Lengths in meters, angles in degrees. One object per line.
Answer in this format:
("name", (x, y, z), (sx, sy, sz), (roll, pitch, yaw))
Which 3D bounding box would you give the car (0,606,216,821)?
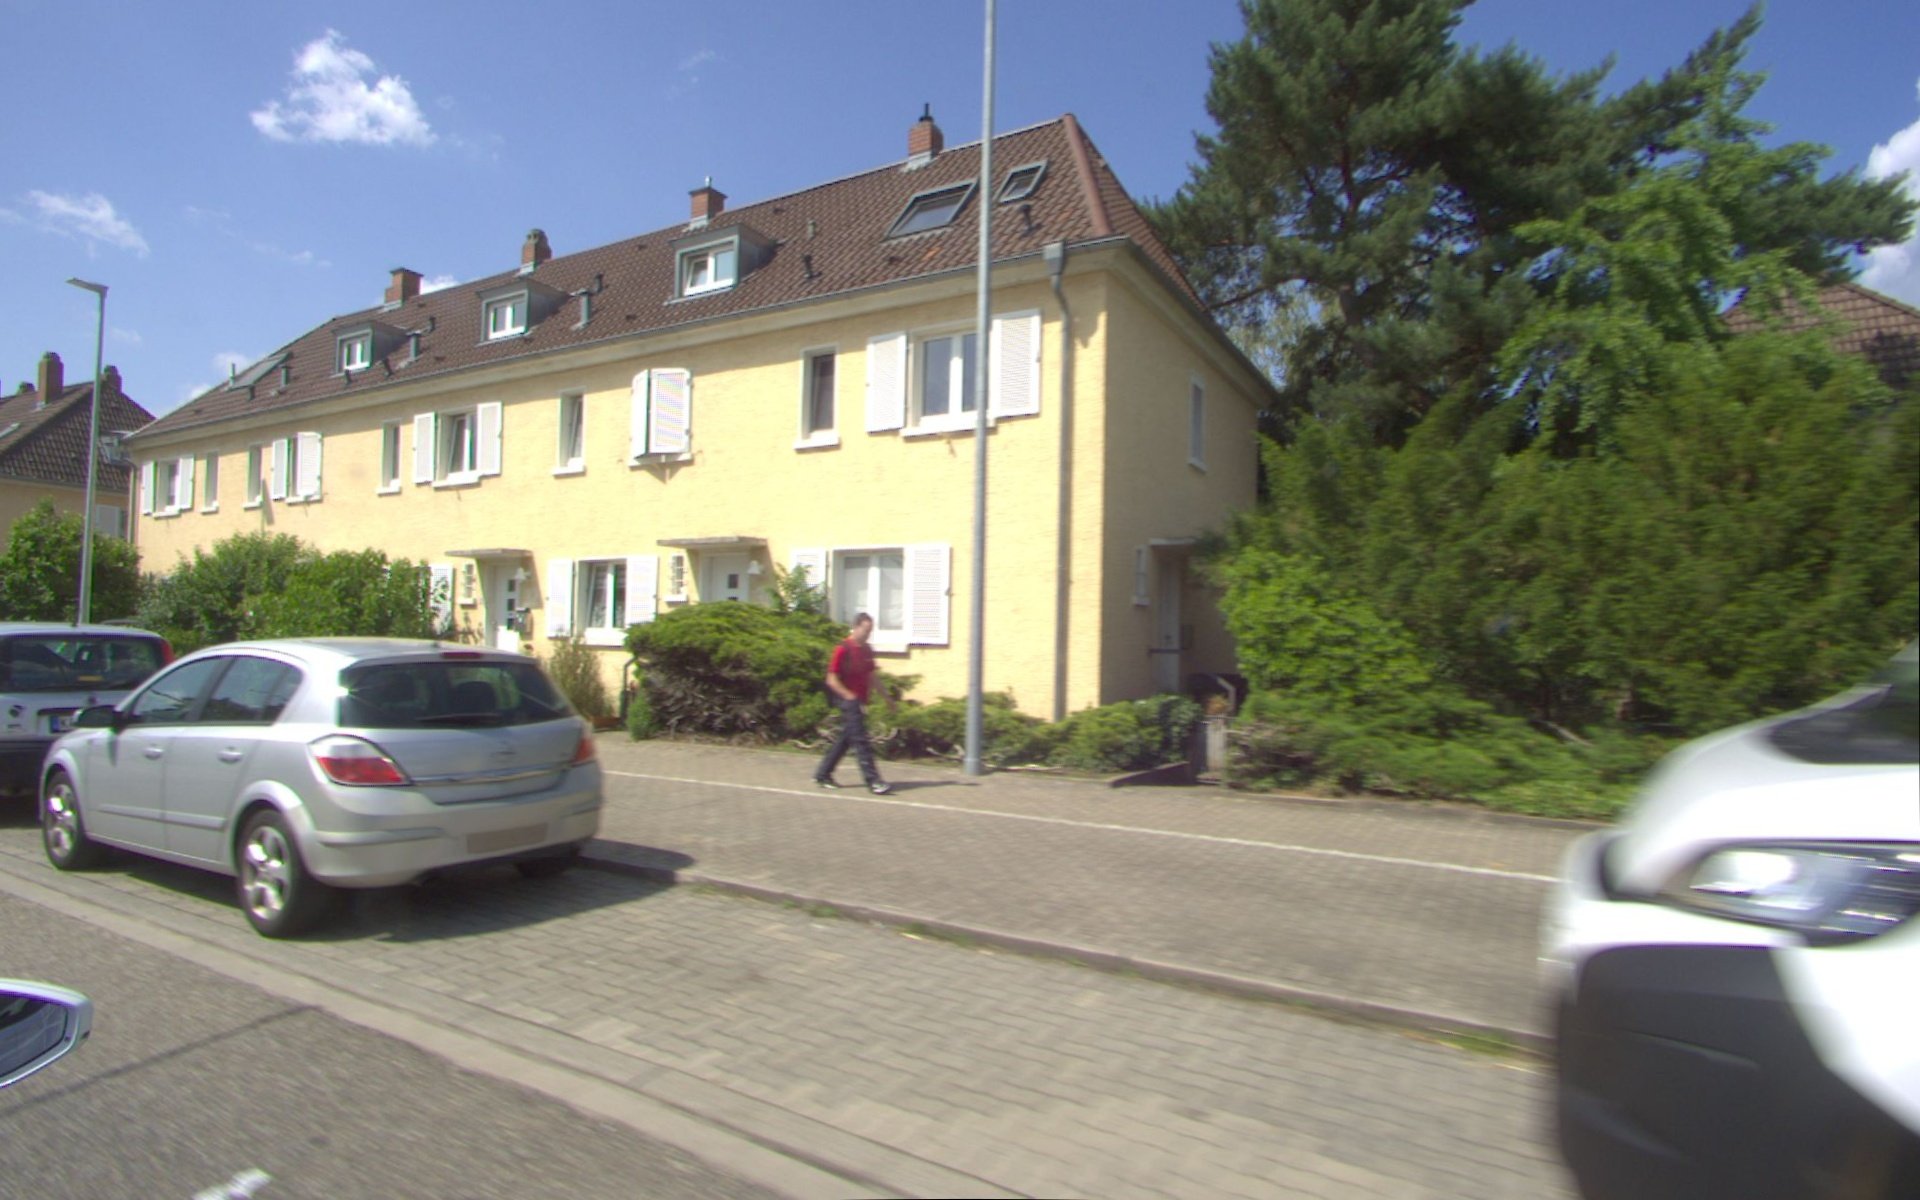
("car", (-8.333, 0.862, 8.794), (3.754, 1.569, 1.626), (0, -2, 32))

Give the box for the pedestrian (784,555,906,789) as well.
("pedestrian", (-1.051, 0.645, 9.245), (0.750, 2.039, 0.772), (0, -2, 32))

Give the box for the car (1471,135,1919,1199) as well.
("car", (4.140, 0.449, 0.972), (6.280, 2.210, 2.272), (0, -2, 34))

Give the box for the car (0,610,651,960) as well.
("car", (-4.063, 0.862, 6.206), (4.191, 1.523, 1.706), (0, -2, 30))
